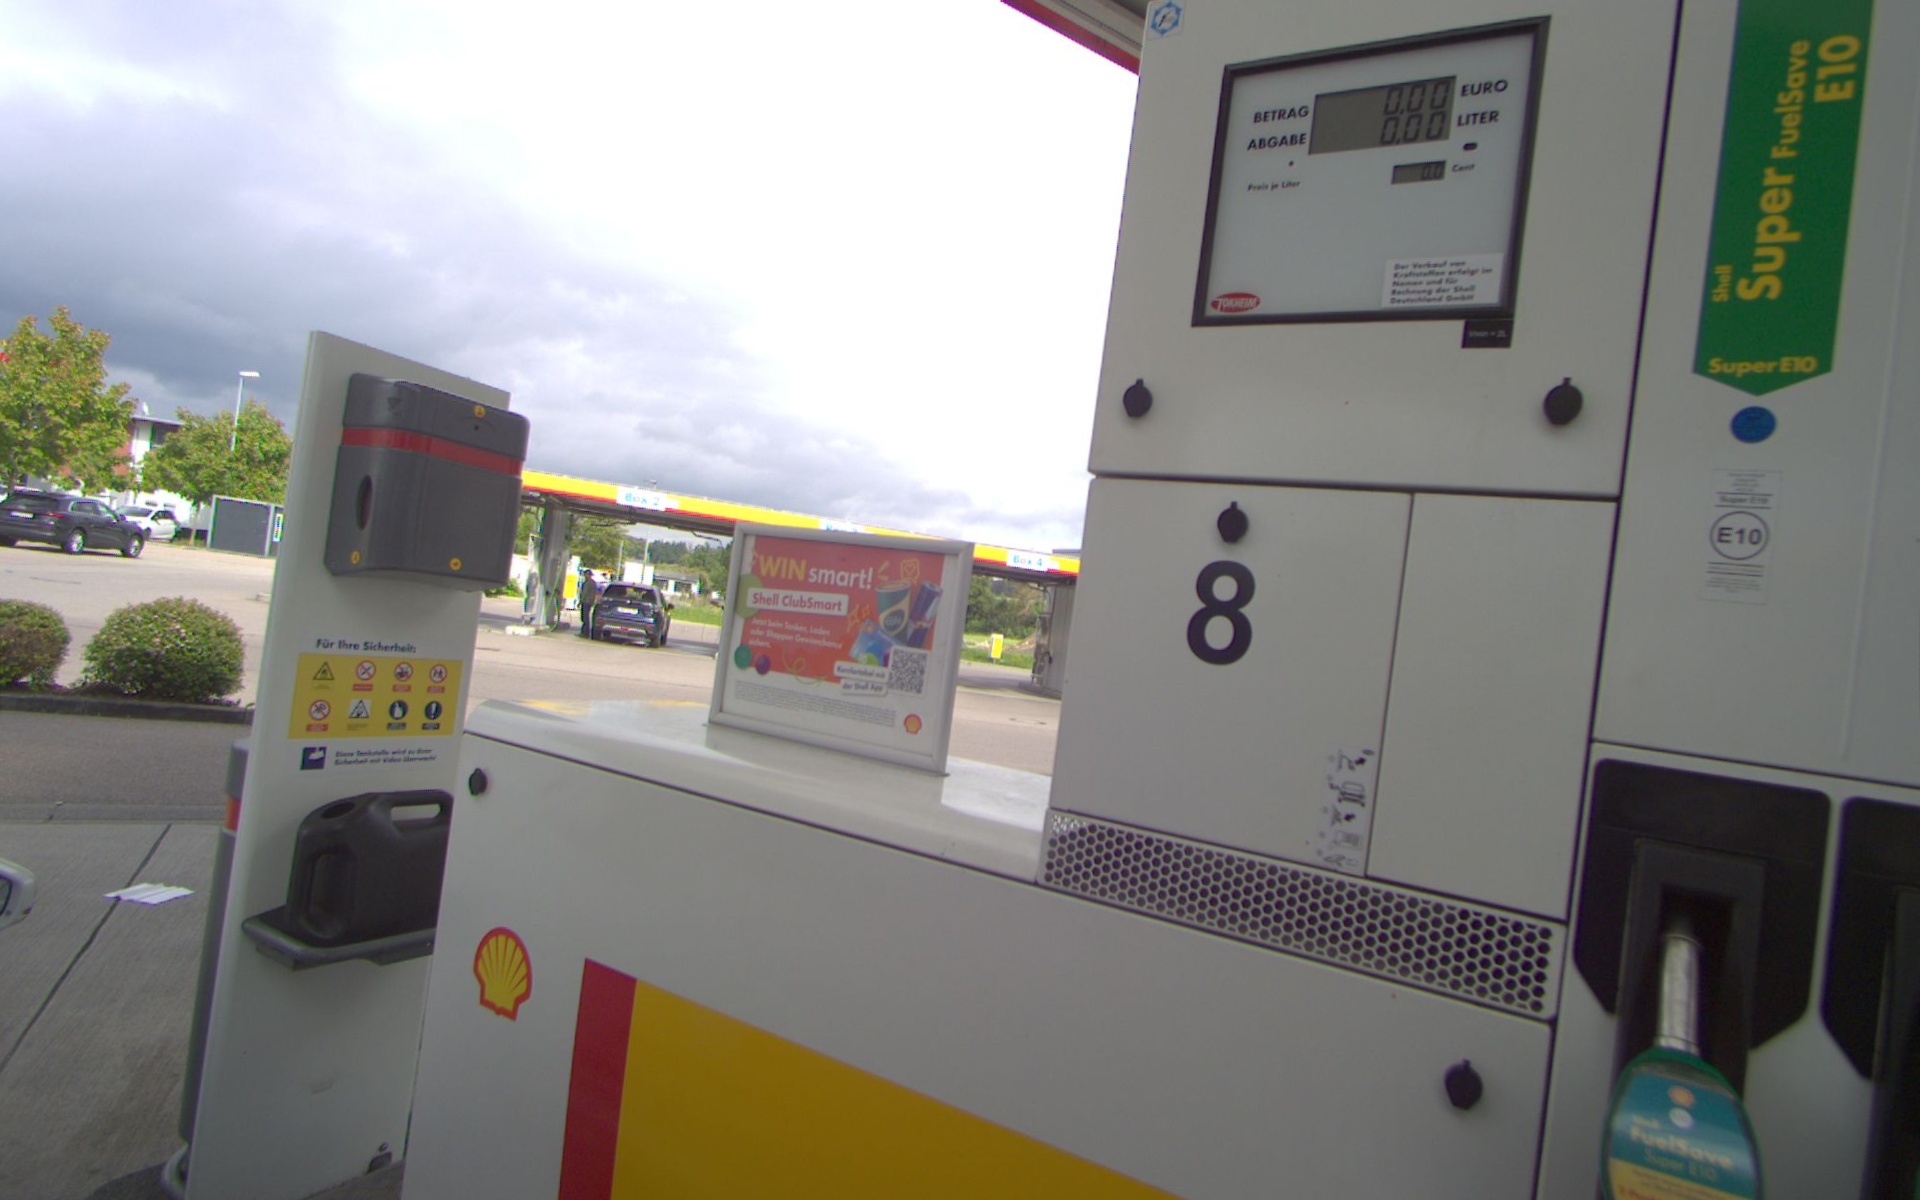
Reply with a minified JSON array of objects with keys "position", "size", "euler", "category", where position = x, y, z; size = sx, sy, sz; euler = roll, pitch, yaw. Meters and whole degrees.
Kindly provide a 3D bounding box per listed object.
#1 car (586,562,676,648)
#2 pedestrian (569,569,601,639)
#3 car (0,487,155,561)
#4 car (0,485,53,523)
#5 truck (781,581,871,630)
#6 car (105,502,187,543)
[{"position":[-8.696,0.152,26.868],"size":[1.696,1.919,3.800],"euler":[8,-2,-12],"category":"car"},{"position":[-9.736,0.097,26.120],"size":[0.550,1.742,0.526],"euler":[7,-1,-21],"category":"pedestrian"},{"position":[-25.928,-2.166,29.265],"size":[1.855,1.566,4.498],"euler":[8,-2,-10],"category":"car"},{"position":[-57.360,-5.906,60.245],"size":[2.149,1.854,4.870],"euler":[8,-2,-11],"category":"car"},{"position":[-13.016,0.548,97.512],"size":[7.978,3.575,2.687],"euler":[8,-2,-19],"category":"truck"},{"position":[-35.258,-3.340,43.650],"size":[1.346,1.322,3.098],"euler":[8,-2,-12],"category":"car"}]
